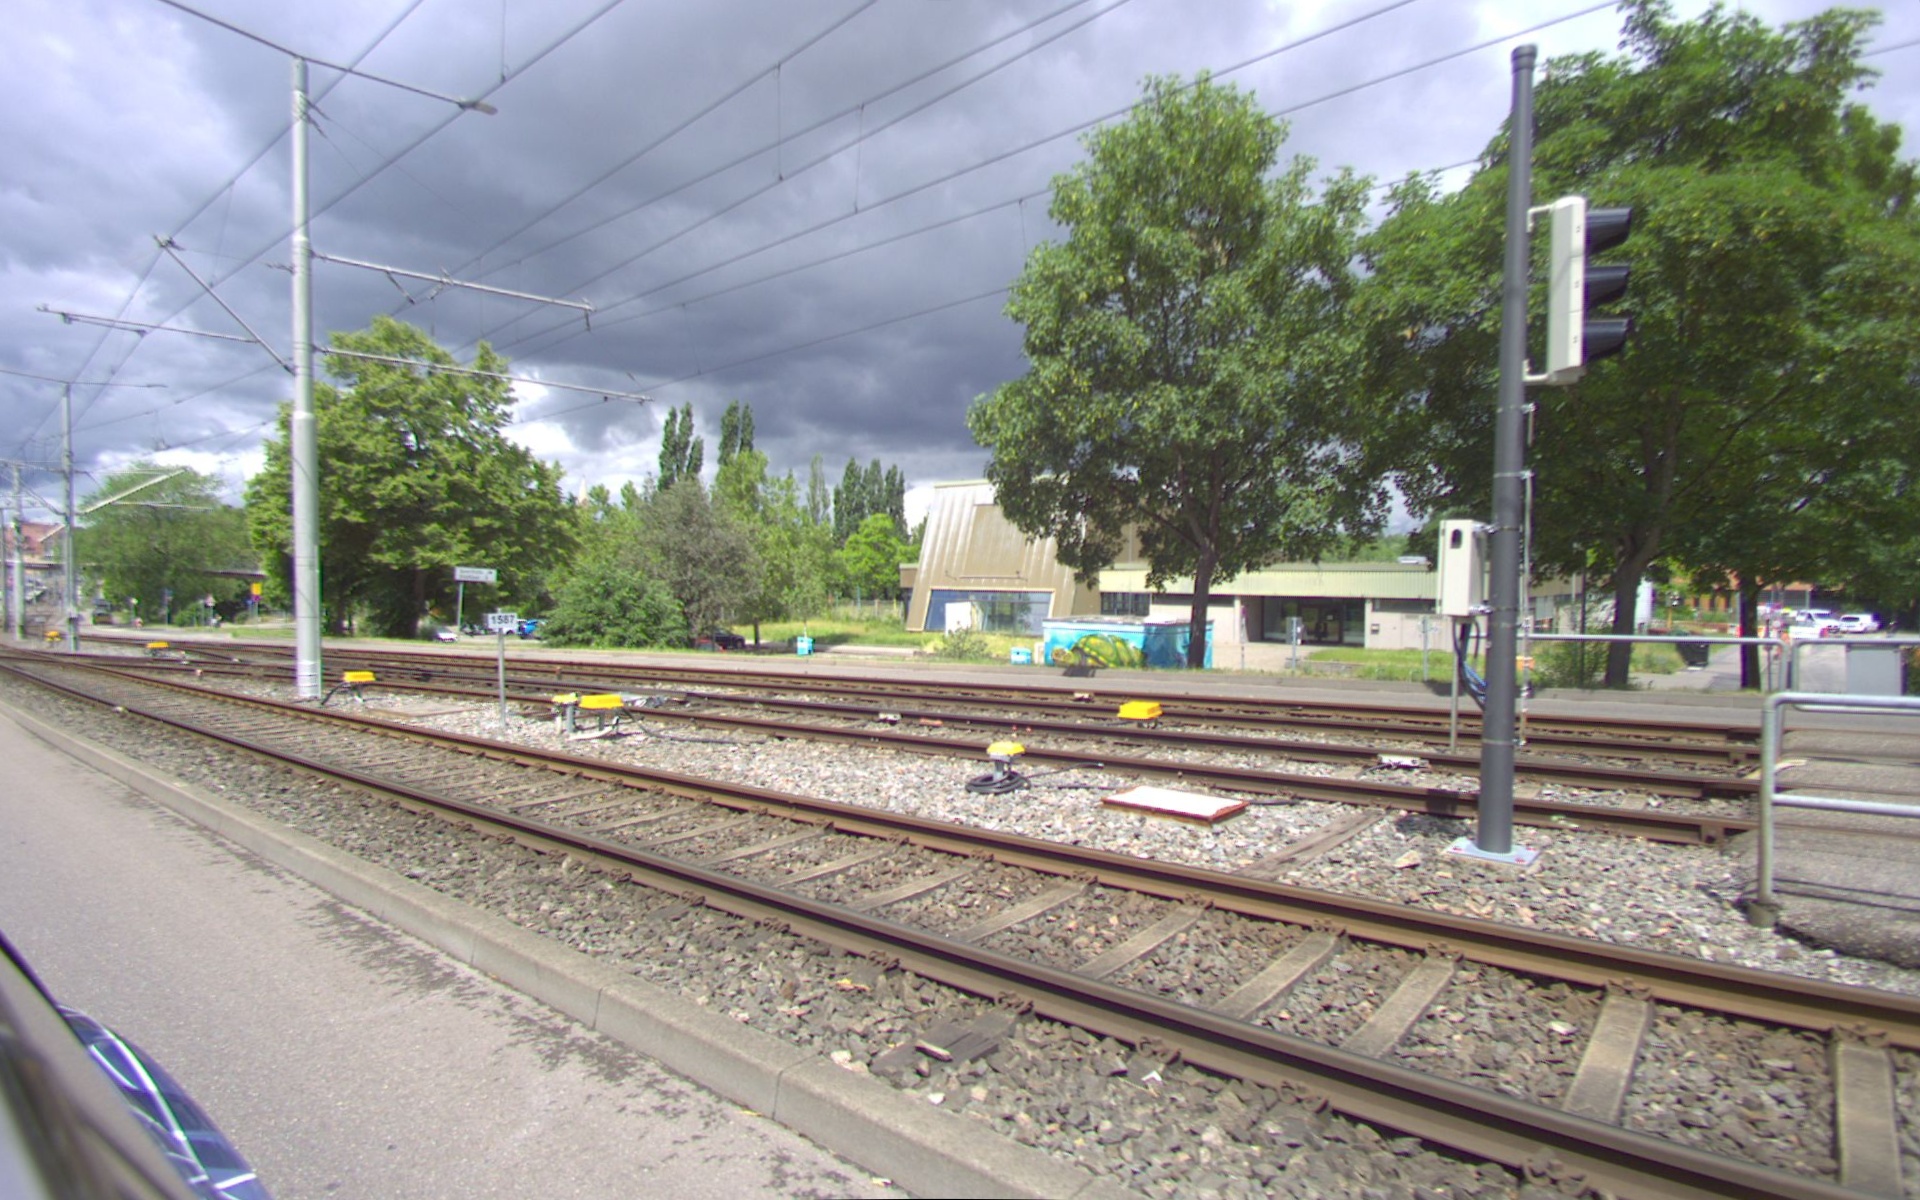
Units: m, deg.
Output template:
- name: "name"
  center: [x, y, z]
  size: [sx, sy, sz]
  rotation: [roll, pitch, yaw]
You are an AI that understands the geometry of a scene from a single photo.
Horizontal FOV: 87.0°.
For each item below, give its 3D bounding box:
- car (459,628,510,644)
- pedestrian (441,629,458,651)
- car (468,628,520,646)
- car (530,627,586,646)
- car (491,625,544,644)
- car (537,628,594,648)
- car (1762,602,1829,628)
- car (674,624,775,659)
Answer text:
- name: "car"
  center: [-42.839, 3.268, 91.234]
  size: [1.627, 1.431, 3.817]
  rotation: [-1, -3, 42]
- name: "pedestrian"
  center: [-35.607, 2.780, 70.539]
  size: [0.677, 1.508, 0.817]
  rotation: [0, -2, 16]
- name: "car"
  center: [-40.828, 3.217, 88.789]
  size: [1.627, 1.546, 3.817]
  rotation: [-1, -3, 42]
- name: "car"
  center: [-32.246, 2.928, 81.289]
  size: [1.627, 1.546, 3.817]
  rotation: [-1, -3, 42]
- name: "car"
  center: [-37.646, 2.936, 86.090]
  size: [1.627, 1.546, 3.817]
  rotation: [-1, -3, 42]
- name: "car"
  center: [-30.714, 2.953, 78.837]
  size: [1.627, 1.546, 3.817]
  rotation: [-1, -3, 42]
- name: "car"
  center: [65.504, 1.170, 79.383]
  size: [3.998, 2.029, 1.973]
  rotation: [-1, 0, 41]
- name: "car"
  center: [-10.153, 1.777, 43.703]
  size: [3.871, 1.420, 1.763]
  rotation: [2, -2, -38]
